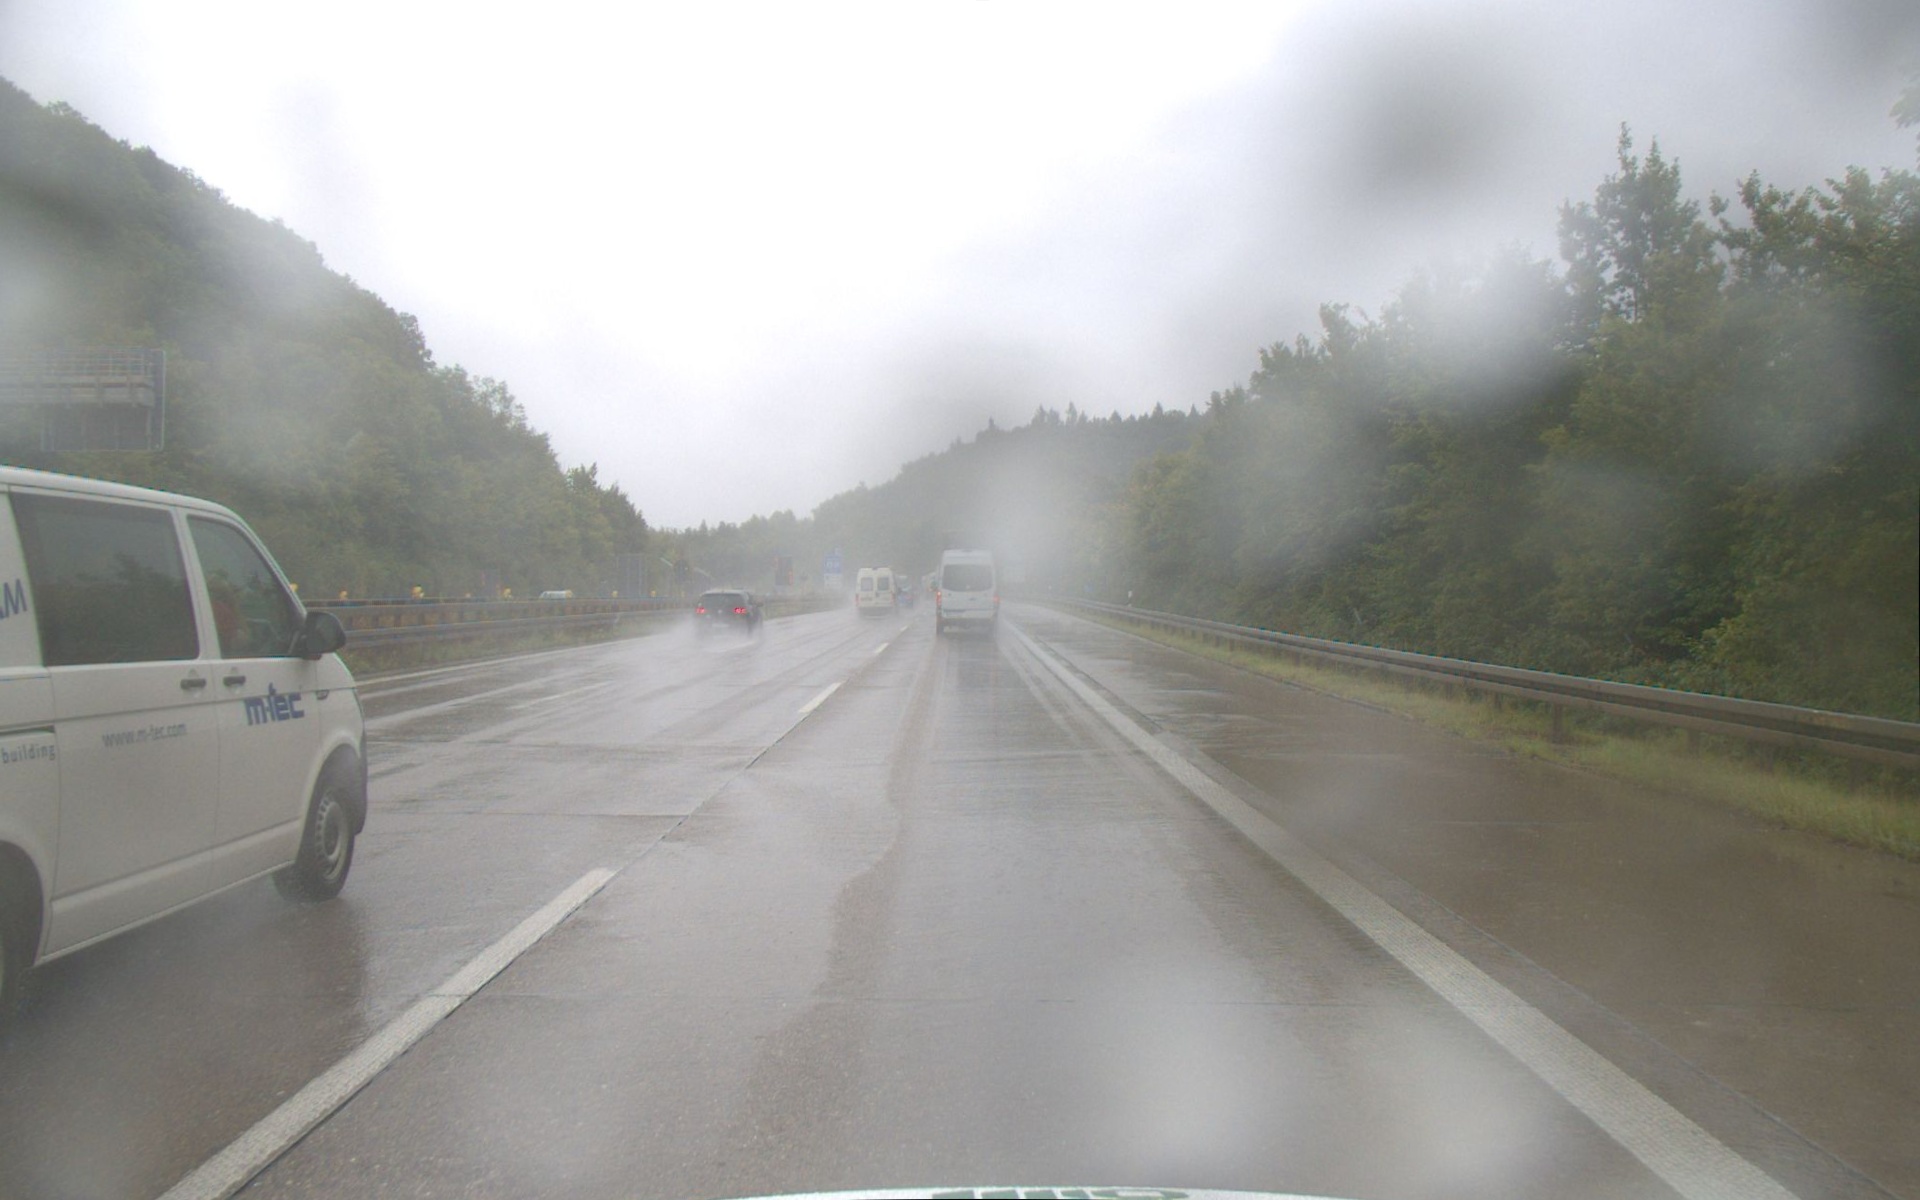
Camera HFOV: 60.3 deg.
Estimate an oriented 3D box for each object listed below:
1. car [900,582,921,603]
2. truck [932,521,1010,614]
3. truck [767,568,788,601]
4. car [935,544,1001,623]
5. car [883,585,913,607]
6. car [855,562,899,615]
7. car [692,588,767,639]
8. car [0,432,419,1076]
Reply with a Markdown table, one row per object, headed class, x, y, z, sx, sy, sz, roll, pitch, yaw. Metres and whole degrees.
| class | x | y | z | sx | sy | sz | roll | pitch | yaw |
| --- | --- | --- | --- | --- | --- | --- | --- | --- | --- |
| car | -4.479 | -0.675 | 149.347 | 1.831 | 1.841 | 4.187 | 2 | 1 | -2 |
| truck | 0.433 | -1.614 | 77.185 | 3.316 | 4.036 | 8.667 | -2 | 2 | -1 |
| truck | -18.946 | -1.591 | 171.516 | 1.956 | 3.225 | 6.723 | -2 | 1 | -7 |
| car | 0.202 | -0.530 | 53.228 | 1.861 | 2.374 | 5.249 | 2 | 1 | -2 |
| car | -4.128 | -0.293 | 108.845 | 1.819 | 1.362 | 4.348 | 2 | 1 | -4 |
| car | -4.074 | -0.588 | 81.550 | 1.957 | 2.474 | 5.789 | 2 | 1 | -2 |
| car | -6.680 | 0.380 | 48.245 | 1.705 | 1.412 | 4.320 | 0 | 0 | -2 |
| car | -3.812 | 0.446 | 6.338 | 1.861 | 1.927 | 5.042 | 0 | 1 | -1 |
